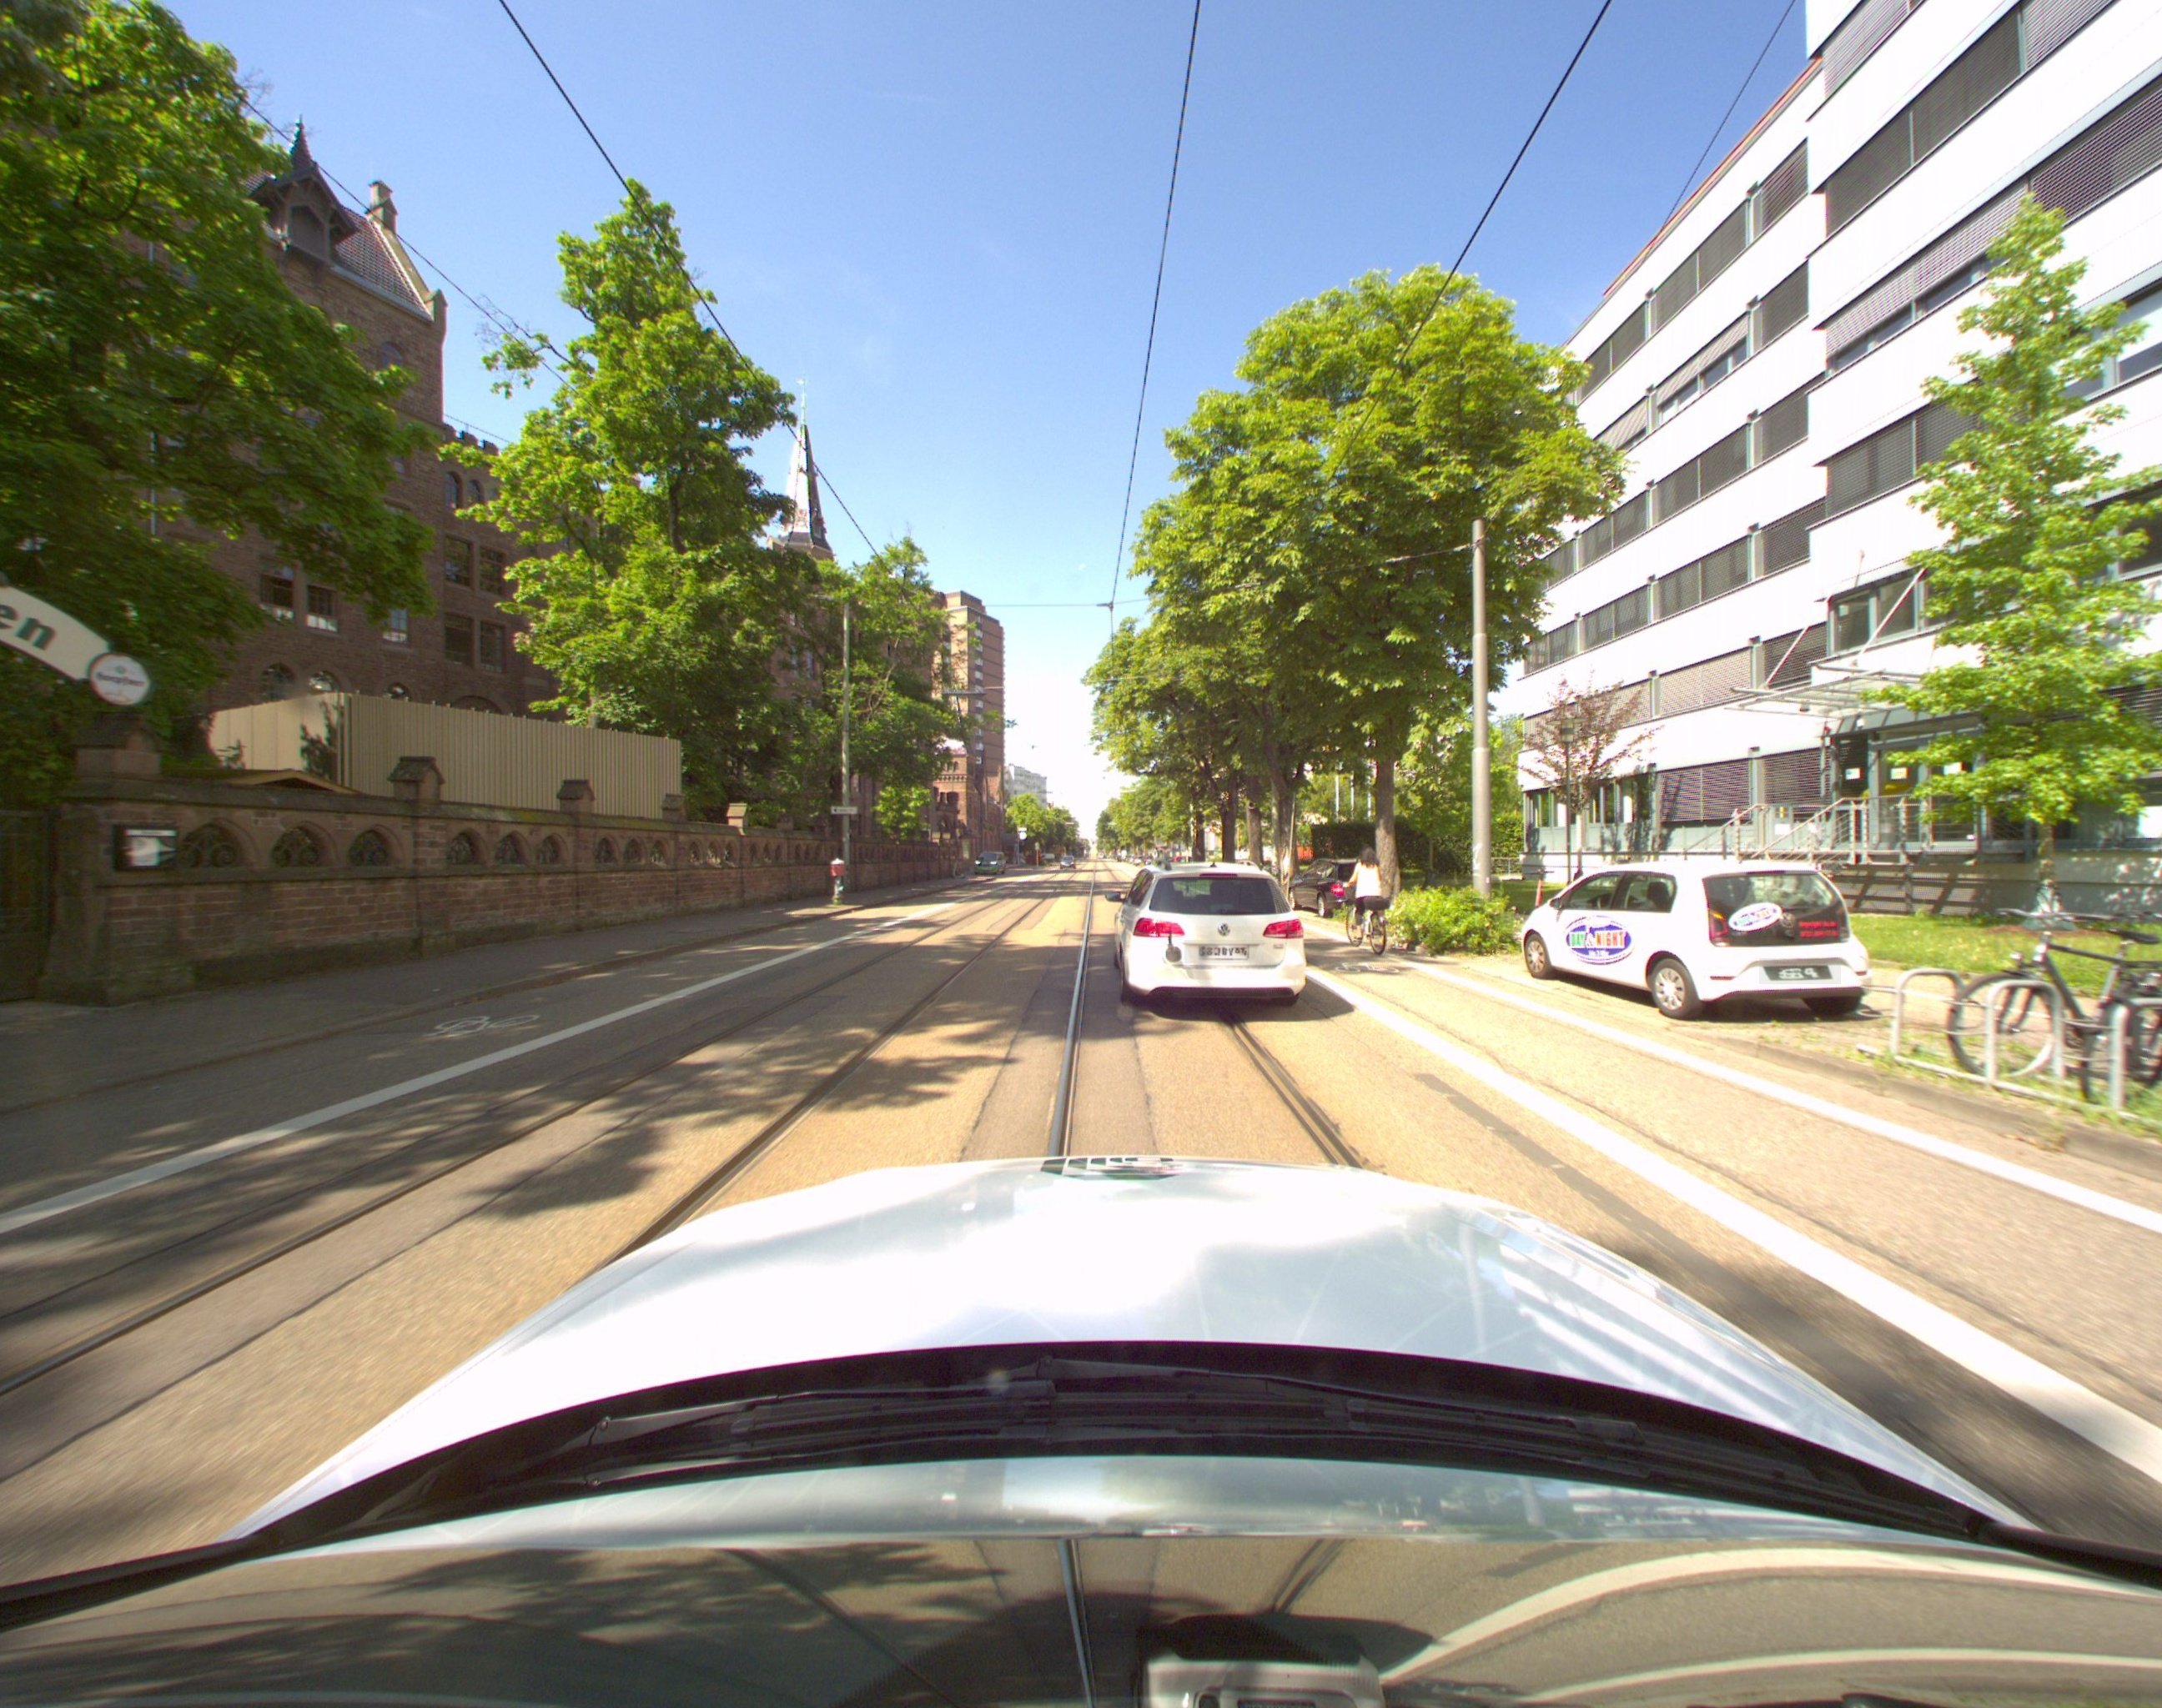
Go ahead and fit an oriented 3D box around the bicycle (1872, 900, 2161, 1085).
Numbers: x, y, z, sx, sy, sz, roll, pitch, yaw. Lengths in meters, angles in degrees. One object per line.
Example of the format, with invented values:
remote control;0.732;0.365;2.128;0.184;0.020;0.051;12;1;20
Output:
bicycle;6.366;0.883;5.328;1.880;1.083;0.550;1;0;-2

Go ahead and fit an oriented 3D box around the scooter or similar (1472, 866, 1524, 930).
scooter or similar;7.719;0.800;15.105;0.378;1.128;1.090;-1;0;-1

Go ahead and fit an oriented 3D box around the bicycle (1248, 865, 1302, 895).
bicycle;6.826;0.897;28.746;1.784;1.010;0.487;-1;0;-4

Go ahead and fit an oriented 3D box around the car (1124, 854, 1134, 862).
car;9.124;0.738;155.039;1.707;1.401;3.845;-1;0;2

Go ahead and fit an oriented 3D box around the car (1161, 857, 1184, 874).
car;7.828;0.935;69.960;1.706;1.401;3.846;-1;0;3

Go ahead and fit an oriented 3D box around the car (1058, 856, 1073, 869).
car;-1.670;0.957;89.418;1.487;1.384;3.644;-1;0;2

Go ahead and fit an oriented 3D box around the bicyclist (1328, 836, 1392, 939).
bicyclist;4.554;0.532;13.339;0.783;1.629;0.738;-1;0;1

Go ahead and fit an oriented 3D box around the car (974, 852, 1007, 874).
car;-7.644;0.743;69.056;1.985;1.757;4.716;-1;0;4

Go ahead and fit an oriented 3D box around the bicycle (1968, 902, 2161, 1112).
bicycle;6.337;0.868;4.687;1.906;1.083;0.550;2;0;-2

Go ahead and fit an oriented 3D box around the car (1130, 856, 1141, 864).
car;9.067;0.978;135.276;1.707;1.401;3.845;-1;0;2

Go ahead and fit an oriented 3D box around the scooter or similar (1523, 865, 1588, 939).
scooter or similar;7.768;0.761;13.370;0.386;1.155;1.143;-1;0;-1

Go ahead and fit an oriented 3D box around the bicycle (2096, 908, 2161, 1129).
bicycle;6.346;0.861;4.074;1.906;1.083;0.550;2;0;-2

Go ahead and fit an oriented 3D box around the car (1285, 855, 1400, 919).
car;6.696;0.775;21.366;1.658;1.444;4.635;-1;0;2

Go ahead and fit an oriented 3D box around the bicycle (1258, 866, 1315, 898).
bicycle;6.805;0.911;26.995;1.784;1.010;0.487;-1;0;-4

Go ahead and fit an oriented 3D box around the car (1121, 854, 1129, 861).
car;9.522;0.718;175.521;1.707;1.401;3.845;-1;0;2

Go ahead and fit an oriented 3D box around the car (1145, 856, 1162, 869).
car;8.132;0.913;91.789;1.707;1.401;3.845;-1;0;2

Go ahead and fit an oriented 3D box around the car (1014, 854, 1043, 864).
car;-8.238;0.774;128.104;4.131;1.530;1.919;1;0;-20

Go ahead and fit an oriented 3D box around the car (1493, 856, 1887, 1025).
car;6.387;0.773;9.186;1.584;1.451;3.947;-1;0;2

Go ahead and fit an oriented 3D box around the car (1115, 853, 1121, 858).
car;10.359;0.397;230.378;1.707;1.401;3.845;-1;0;2

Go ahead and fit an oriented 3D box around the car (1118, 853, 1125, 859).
car;9.793;0.593;196.649;1.707;1.401;3.845;-1;0;2

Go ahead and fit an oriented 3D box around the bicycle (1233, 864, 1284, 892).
bicycle;6.652;0.885;30.529;1.784;1.010;0.487;-1;0;-4

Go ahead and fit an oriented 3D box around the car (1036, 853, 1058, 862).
car;-6.732;0.661;161.348;4.016;1.816;1.979;-1;0;-35

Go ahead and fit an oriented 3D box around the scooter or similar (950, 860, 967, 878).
scooter or similar;-7.893;0.969;52.581;0.400;1.155;1.150;-1;0;35

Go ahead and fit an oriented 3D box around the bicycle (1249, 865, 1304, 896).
bicycle;6.744;0.903;28.153;1.784;1.010;0.487;-1;0;-4

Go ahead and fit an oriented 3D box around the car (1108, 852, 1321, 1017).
car;1.245;0.732;9.388;1.748;1.442;4.412;0;-1;0

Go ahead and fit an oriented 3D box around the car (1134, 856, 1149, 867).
car;8.107;0.969;109.542;1.707;1.401;3.843;-1;0;1

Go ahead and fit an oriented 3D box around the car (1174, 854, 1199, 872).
car;7.767;0.646;60.196;1.705;1.280;3.849;-1;0;5

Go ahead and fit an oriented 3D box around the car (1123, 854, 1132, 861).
car;9.431;0.708;166.273;1.707;1.401;3.845;-1;0;2

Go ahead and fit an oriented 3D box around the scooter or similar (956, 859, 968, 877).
scooter or similar;-8.188;0.964;56.057;0.419;1.200;1.148;-1;0;16

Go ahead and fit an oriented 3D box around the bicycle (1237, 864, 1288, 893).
bicycle;6.680;0.889;30.009;1.784;1.010;0.487;-1;0;-4

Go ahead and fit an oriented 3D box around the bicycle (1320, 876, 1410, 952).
bicycle;4.563;0.934;13.240;0.808;1.078;2.013;0;0;2

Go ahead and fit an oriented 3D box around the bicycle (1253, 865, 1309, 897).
bicycle;6.757;0.904;27.576;1.784;1.010;0.487;-1;0;-4
